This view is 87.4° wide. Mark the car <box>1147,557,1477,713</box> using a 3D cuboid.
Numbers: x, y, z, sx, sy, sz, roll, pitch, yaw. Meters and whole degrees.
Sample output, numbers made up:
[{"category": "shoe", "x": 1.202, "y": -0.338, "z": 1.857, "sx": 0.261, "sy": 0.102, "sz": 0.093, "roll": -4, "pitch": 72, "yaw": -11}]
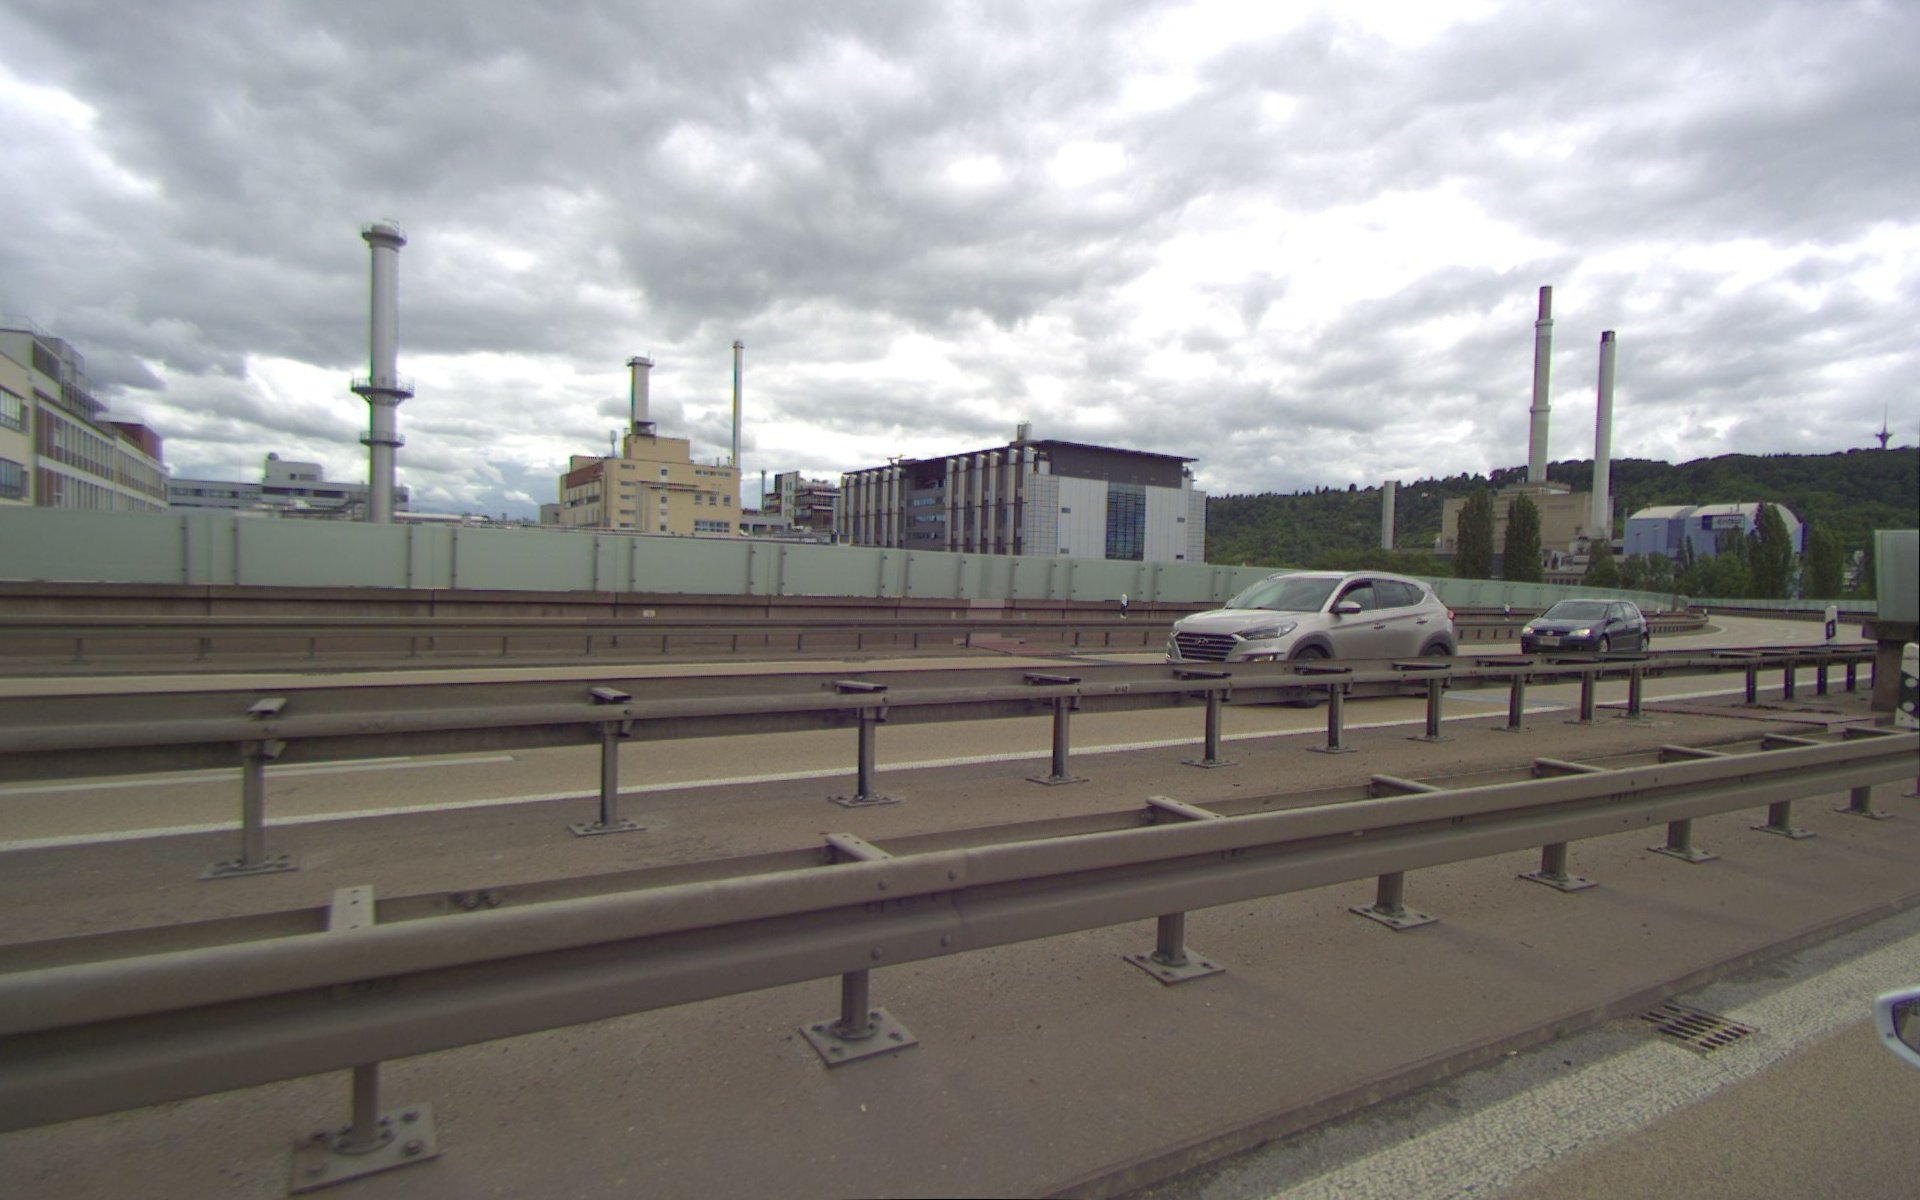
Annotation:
[{"category": "car", "x": 4.618, "y": 0.396, "z": 12.948, "sx": 4.364, "sy": 1.695, "sz": 1.832, "roll": 1, "pitch": 1, "yaw": -36}]

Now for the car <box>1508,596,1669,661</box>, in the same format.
[{"category": "car", "x": 15.428, "y": 0.668, "z": 24.586, "sx": 4.352, "sy": 1.451, "sz": 1.749, "roll": 1, "pitch": 1, "yaw": -35}]
